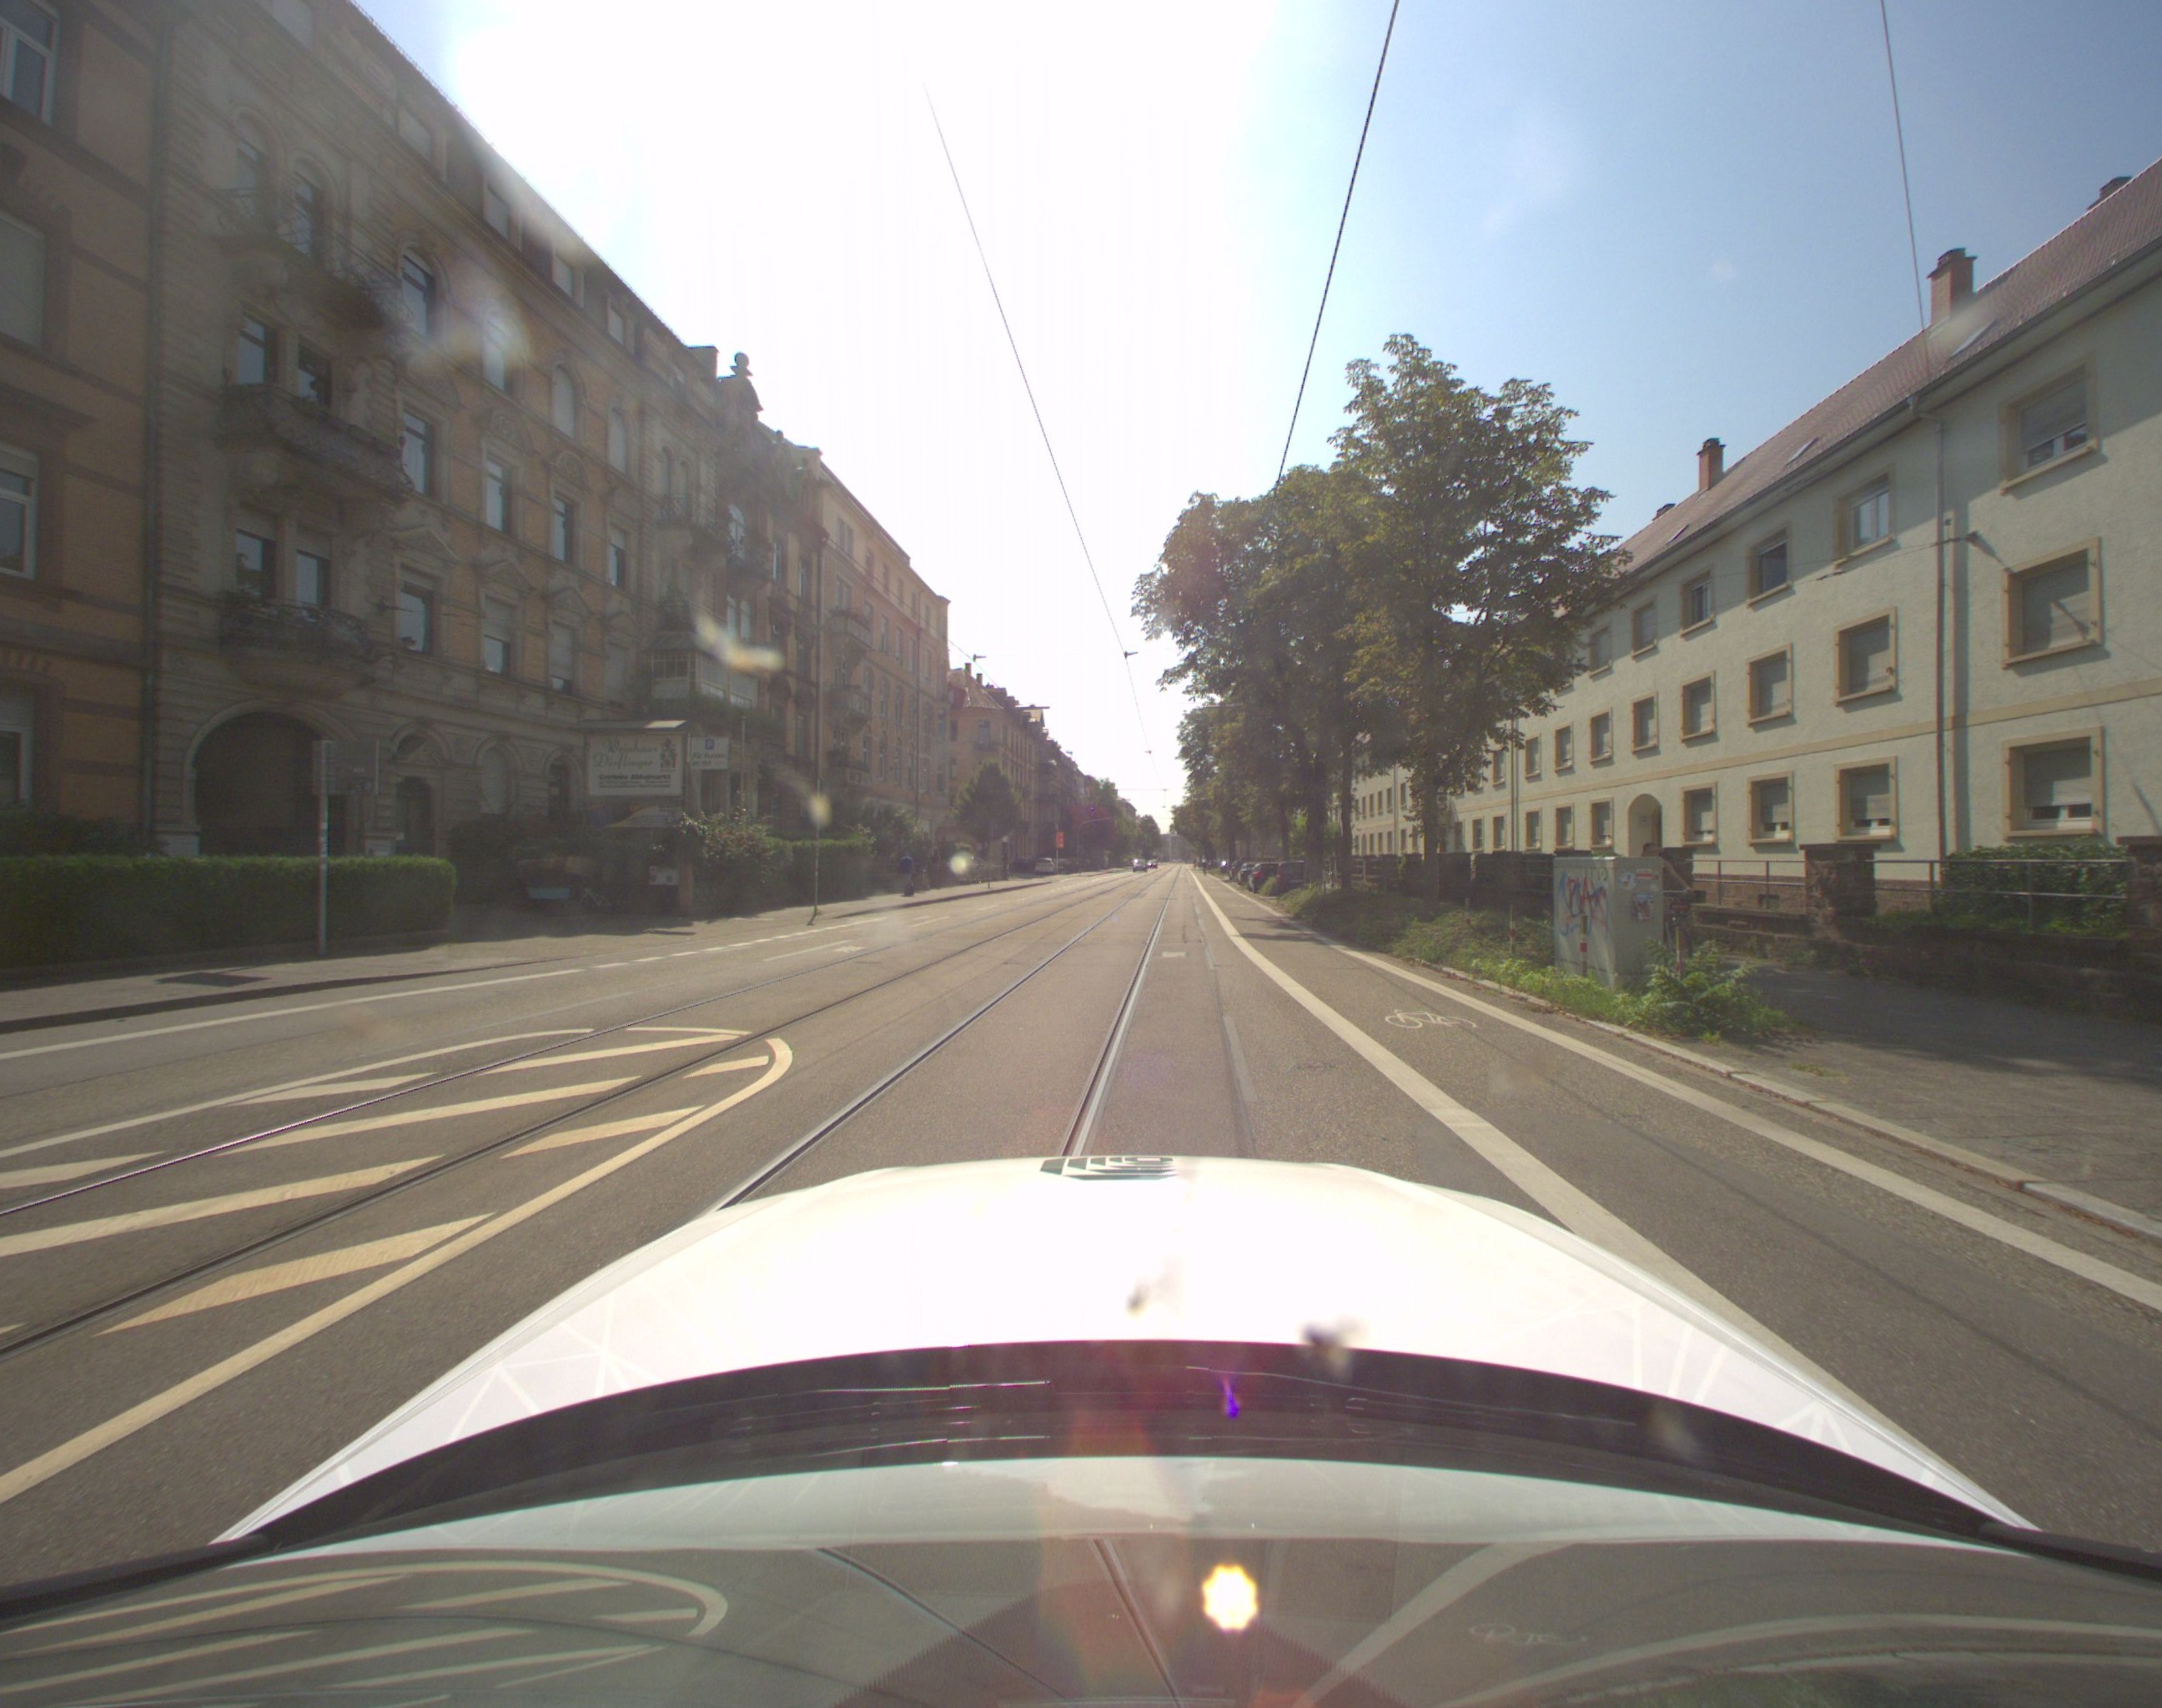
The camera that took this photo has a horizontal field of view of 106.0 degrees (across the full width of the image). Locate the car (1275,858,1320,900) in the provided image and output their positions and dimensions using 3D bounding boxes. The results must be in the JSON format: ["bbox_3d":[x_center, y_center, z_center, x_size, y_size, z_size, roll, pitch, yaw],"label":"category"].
[{"bbox_3d":[8.567,0.963,32.400,1.605,1.530,3.512,-1,0,14],"label":"car"}]

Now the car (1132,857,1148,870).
[{"bbox_3d":[7.385,1.136,101.095,1.817,1.540,4.008,0,0,7],"label":"car"}]

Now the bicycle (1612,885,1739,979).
[{"bbox_3d":[7.674,0.958,10.615,0.438,1.047,1.831,0,0,4],"label":"bicycle"}]

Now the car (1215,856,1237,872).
[{"bbox_3d":[14.124,0.979,79.441,1.882,1.477,4.849,0,0,7],"label":"car"}]

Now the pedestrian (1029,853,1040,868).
[{"bbox_3d":[-4.876,0.679,85.132,0.887,1.511,0.863,0,0,-24],"label":"pedestrian"}]

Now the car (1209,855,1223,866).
[{"bbox_3d":[19.498,0.911,117.984,1.831,1.532,4.123,0,1,7],"label":"car"}]

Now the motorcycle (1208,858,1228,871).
[{"bbox_3d":[17.303,1.324,102.725,0.974,1.540,2.318,1,-3,-42],"label":"motorcycle"}]

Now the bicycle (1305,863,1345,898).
[{"bbox_3d":[7.964,0.864,26.579,1.396,1.108,0.386,0,0,-29],"label":"bicycle"}]

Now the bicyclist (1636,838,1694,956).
[{"bbox_3d":[7.683,0.551,10.725,0.435,1.512,0.472,0,0,4],"label":"bicyclist"}]

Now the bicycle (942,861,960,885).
[{"bbox_3d":[-6.312,0.921,39.615,0.388,1.147,1.585,0,0,8],"label":"bicycle"}]

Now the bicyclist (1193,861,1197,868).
[{"bbox_3d":[20.868,1.856,148.972,0.575,1.279,0.472,0,-1,9],"label":"bicyclist"}]

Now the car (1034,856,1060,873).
[{"bbox_3d":[-3.246,0.951,78.170,1.985,1.594,4.364,0,0,4],"label":"car"}]

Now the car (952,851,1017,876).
[{"bbox_3d":[-6.701,0.658,56.698,4.078,1.594,1.883,1,0,8],"label":"car"}]

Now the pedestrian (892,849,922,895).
[{"bbox_3d":[-6.848,0.698,32.073,0.878,1.756,0.872,0,0,7],"label":"pedestrian"}]

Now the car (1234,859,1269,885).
[{"bbox_3d":[10.654,1.113,51.094,1.746,1.477,4.466,-3,-1,7],"label":"car"}]

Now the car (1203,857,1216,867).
[{"bbox_3d":[21.013,1.289,133.510,1.831,1.532,4.789,-1,0,7],"label":"car"}]

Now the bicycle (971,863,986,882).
[{"bbox_3d":[-5.709,1.010,45.376,0.388,1.038,1.837,0,0,8],"label":"bicycle"}]

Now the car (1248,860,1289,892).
[{"bbox_3d":[9.241,1.059,40.375,1.608,1.477,4.047,-1,0,7],"label":"car"}]

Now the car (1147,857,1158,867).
[{"bbox_3d":[12.135,1.343,138.408,1.723,1.490,4.008,0,0,7],"label":"car"}]

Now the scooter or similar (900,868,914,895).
[{"bbox_3d":[-6.697,1.053,31.408,0.399,0.982,0.584,2,0,-1],"label":"scooter or similar"}]

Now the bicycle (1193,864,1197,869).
[{"bbox_3d":[20.876,2.259,149.009,0.584,0.939,2.177,0,-1,10],"label":"bicycle"}]

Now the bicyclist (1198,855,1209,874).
[{"bbox_3d":[12.283,1.052,81.579,1.119,1.837,0.958,0,-1,8],"label":"bicyclist"}]

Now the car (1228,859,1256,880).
[{"bbox_3d":[12.140,1.148,61.534,1.746,1.477,4.394,0,0,6],"label":"car"}]

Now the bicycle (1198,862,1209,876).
[{"bbox_3d":[12.279,1.491,81.551,1.141,1.269,2.719,0,0,9],"label":"bicycle"}]

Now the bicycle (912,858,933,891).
[{"bbox_3d":[-6.889,0.866,35.444,0.388,1.406,1.585,0,0,8],"label":"bicycle"}]

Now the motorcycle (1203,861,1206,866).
[{"bbox_3d":[28.472,2.202,187.577,0.546,1.068,2.335,0,-1,7],"label":"motorcycle"}]

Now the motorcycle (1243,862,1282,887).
[{"bbox_3d":[9.966,1.134,44.839,1.994,1.368,0.783,0,0,4],"label":"motorcycle"}]
